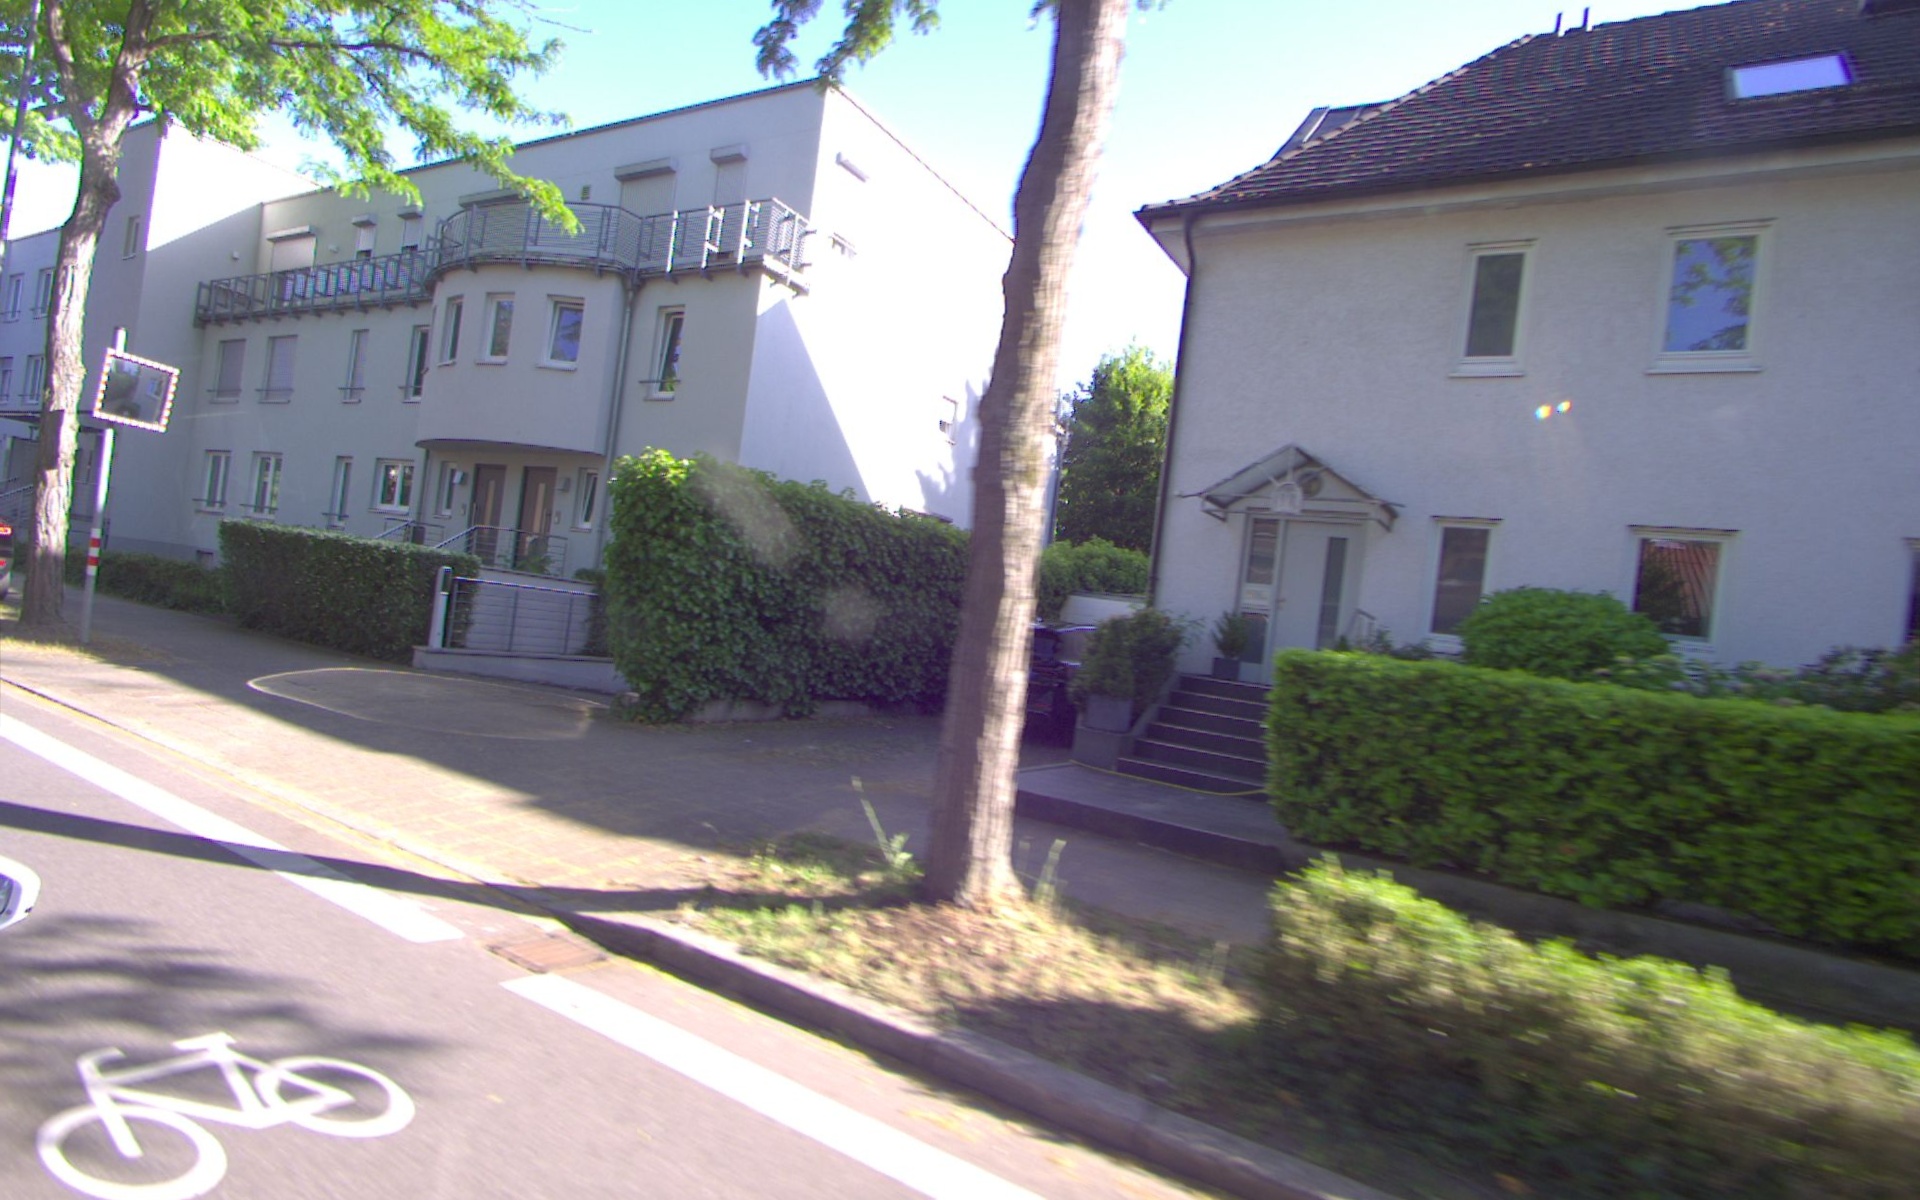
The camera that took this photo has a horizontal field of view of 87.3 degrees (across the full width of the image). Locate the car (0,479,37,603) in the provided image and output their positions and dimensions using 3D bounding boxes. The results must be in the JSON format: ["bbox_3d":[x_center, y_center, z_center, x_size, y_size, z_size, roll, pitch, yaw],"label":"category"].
[{"bbox_3d":[-15.484,-1.072,14.523,4.319,1.696,2.004,7,1,31],"label":"car"}]

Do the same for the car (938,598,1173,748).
[{"bbox_3d":[1.552,1.074,14.798,1.718,1.725,3.992,7,-1,31],"label":"car"}]
